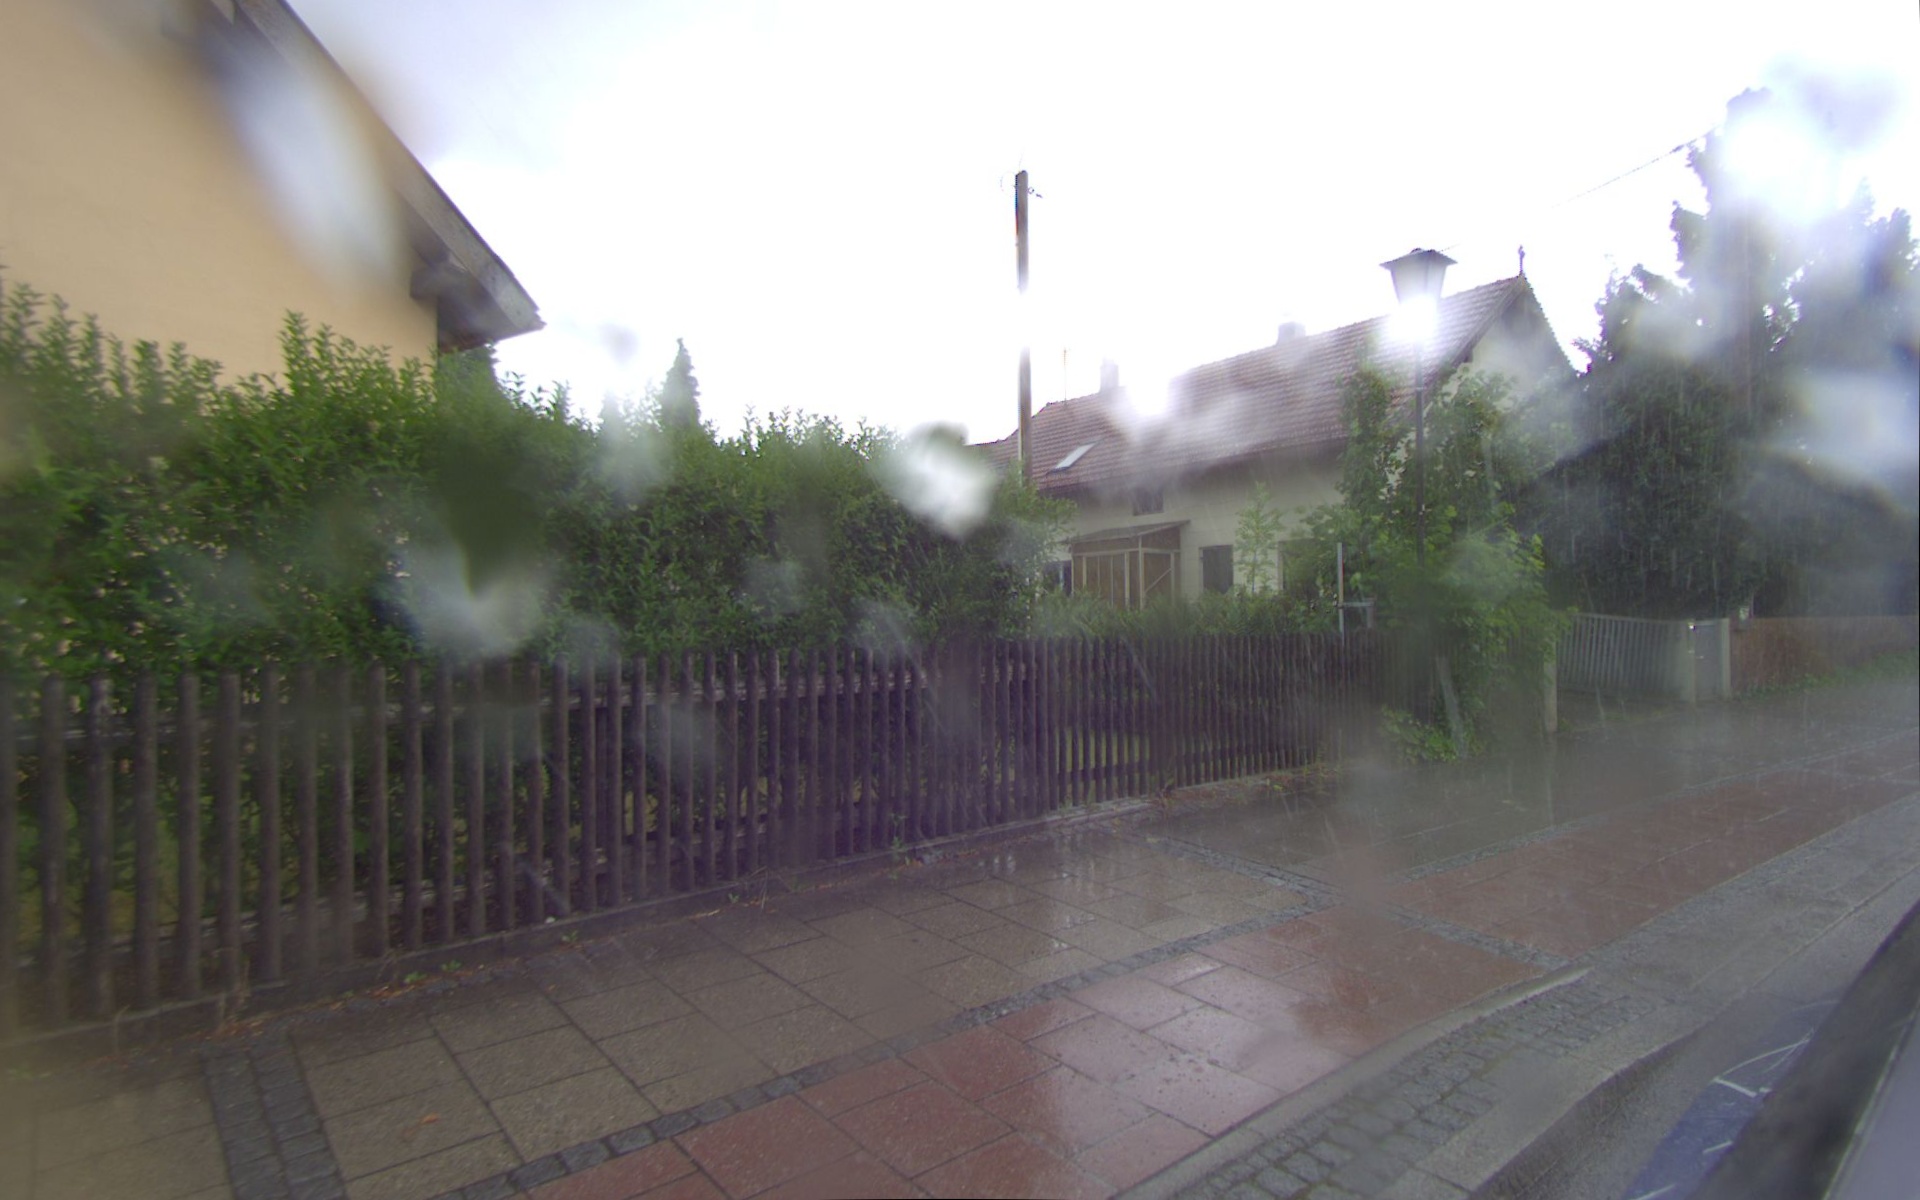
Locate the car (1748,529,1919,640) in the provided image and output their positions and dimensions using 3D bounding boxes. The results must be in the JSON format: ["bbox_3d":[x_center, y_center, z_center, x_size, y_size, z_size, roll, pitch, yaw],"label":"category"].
[{"bbox_3d":[23.930,-0.422,26.174,1.966,2.761,5.310,-1,2,-43],"label":"car"}]

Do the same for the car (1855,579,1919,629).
[{"bbox_3d":[29.413,0.169,29.767,1.799,1.438,4.437,-1,3,-41],"label":"car"}]
